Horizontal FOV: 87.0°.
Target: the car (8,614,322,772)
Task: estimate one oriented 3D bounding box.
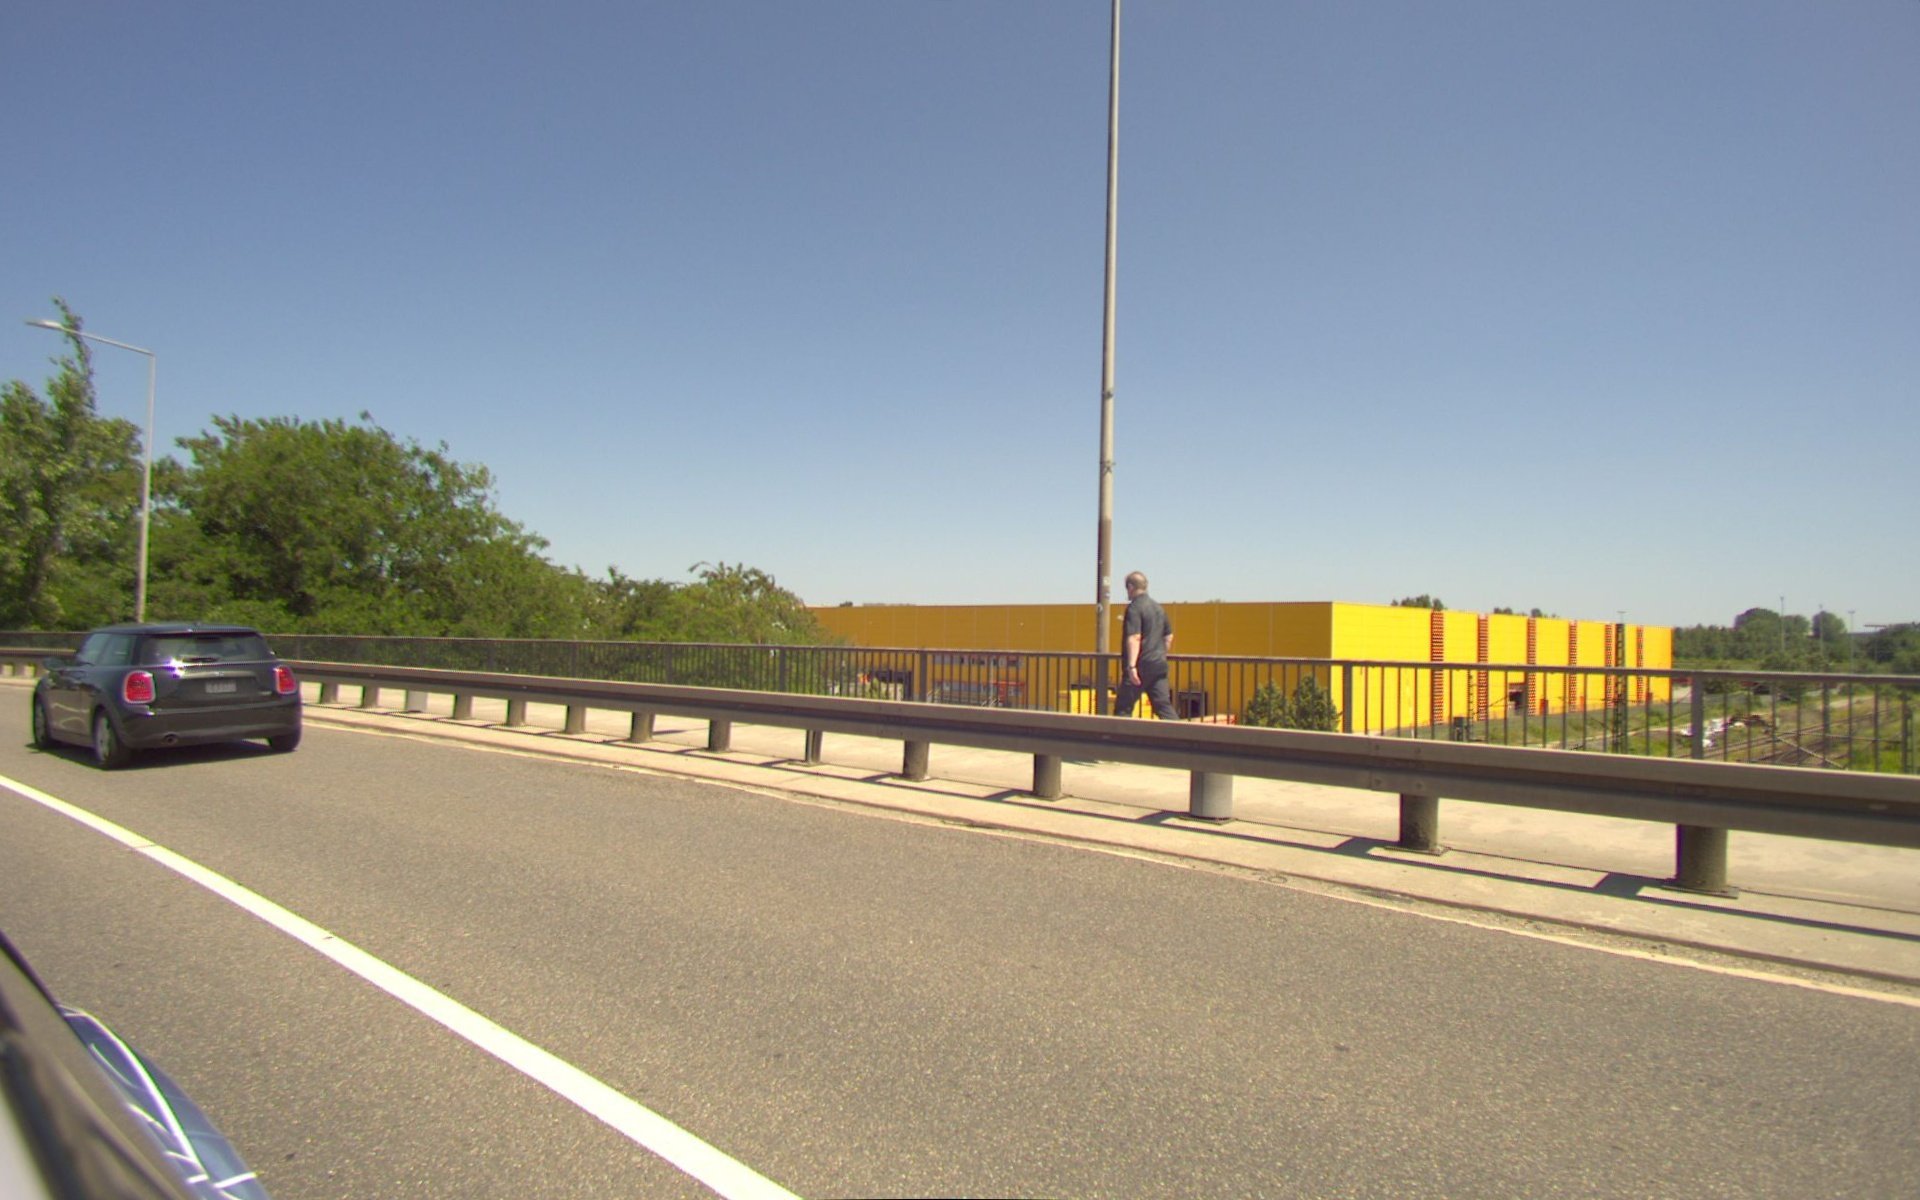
[{"bbox_3d":[-8.861,0.897,11.200,3.766,1.430,1.773,0,-2,36],"label":"car"}]

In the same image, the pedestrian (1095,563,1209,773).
[{"bbox_3d":[1.734,0.577,9.155,0.810,1.796,0.632,0,0,37],"label":"pedestrian"}]
